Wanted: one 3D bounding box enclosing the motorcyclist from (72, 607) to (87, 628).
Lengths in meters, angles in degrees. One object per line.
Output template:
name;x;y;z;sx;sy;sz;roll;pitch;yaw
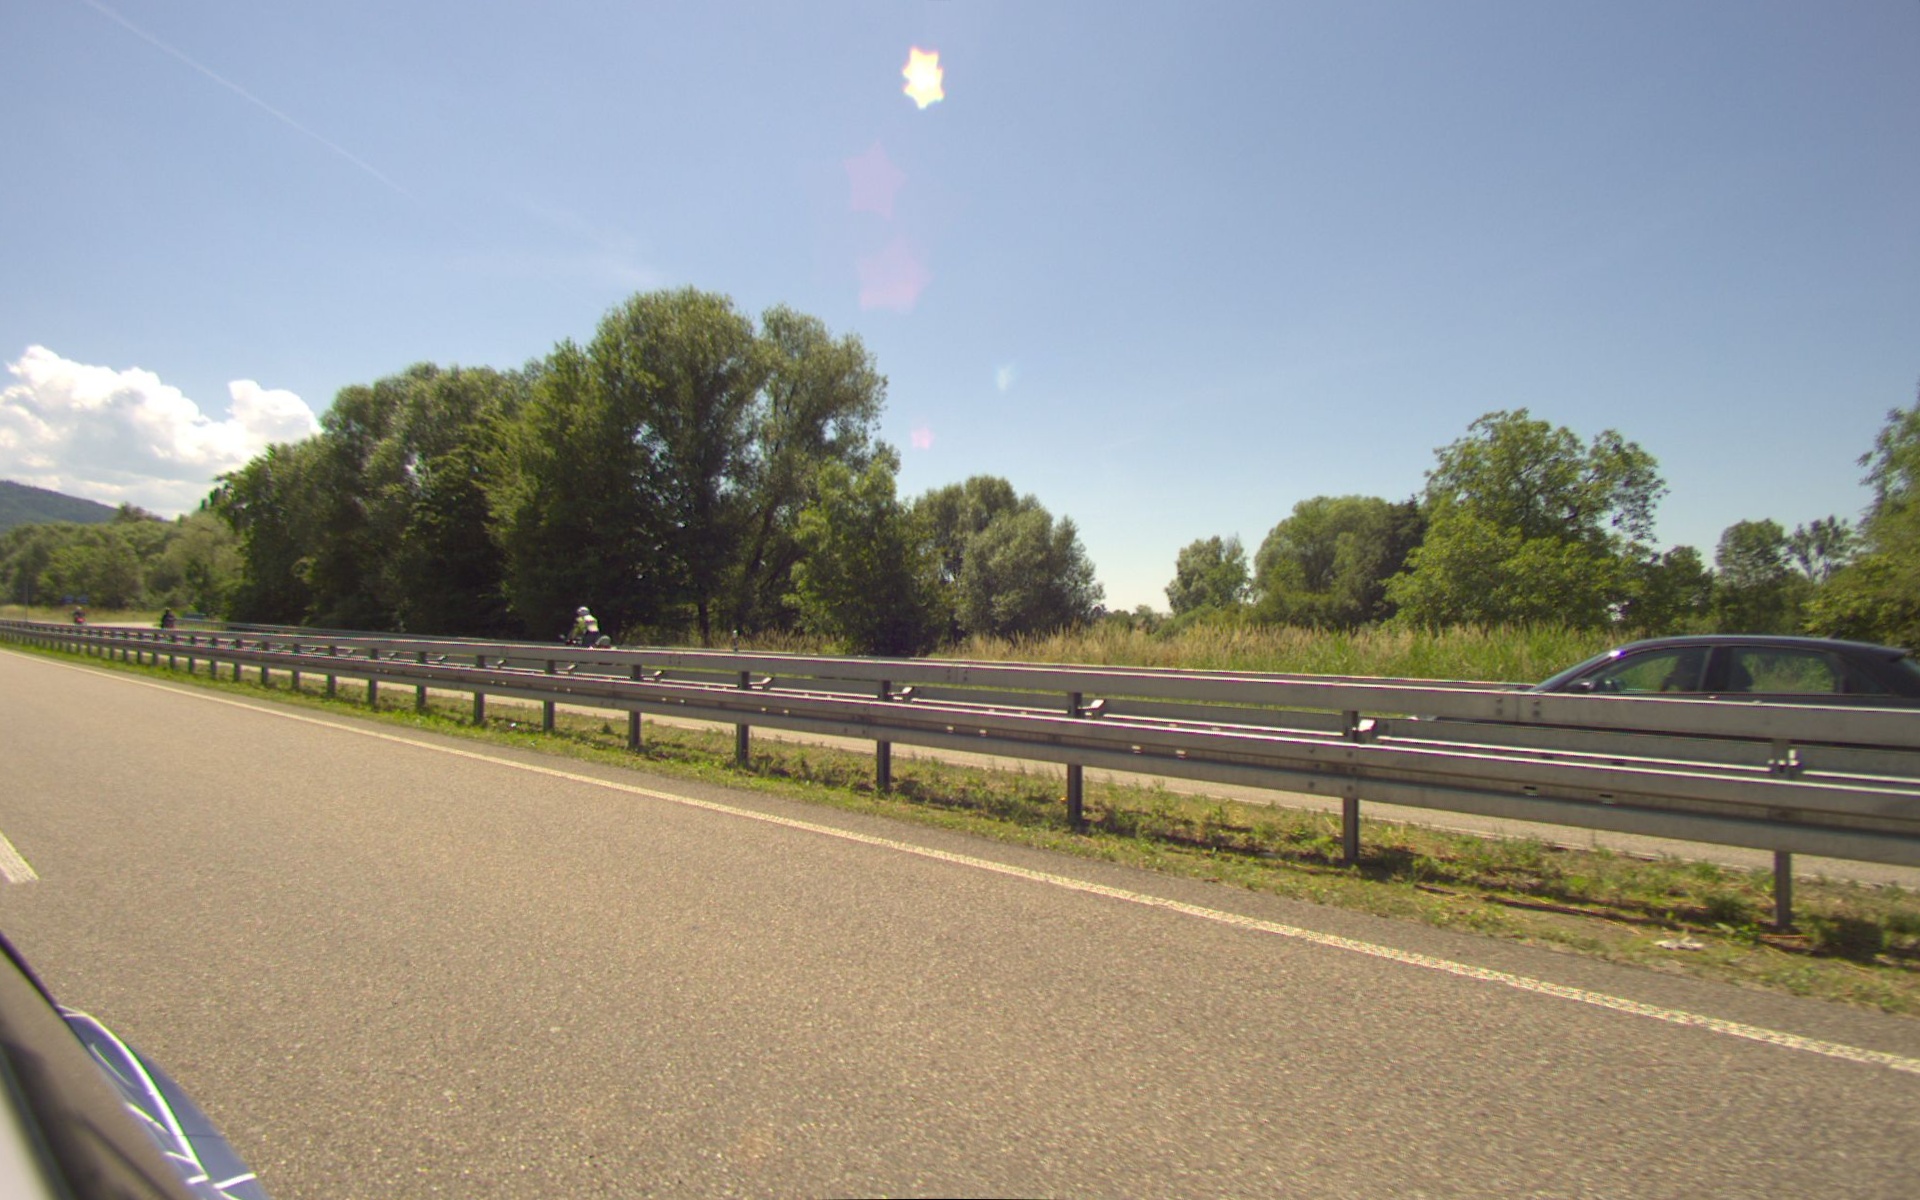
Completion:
motorcyclist;-63.360;1.284;72.813;0.809;1.493;0.710;-1;-1;42

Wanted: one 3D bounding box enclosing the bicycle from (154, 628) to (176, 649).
bicycle;-46.801;2.267;59.590;2.279;1.166;0.607;-1;-1;41

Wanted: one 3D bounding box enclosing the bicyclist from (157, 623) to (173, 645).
bicyclist;-46.800;1.973;59.573;0.607;1.287;0.607;-1;-1;41

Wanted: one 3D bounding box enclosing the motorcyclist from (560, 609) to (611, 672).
motorcyclist;-9.835;1.060;26.583;0.809;1.629;0.935;-1;-3;40

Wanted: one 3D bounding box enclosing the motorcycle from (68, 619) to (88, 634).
motorcycle;-63.372;1.878;72.731;2.665;1.072;0.719;-1;-1;41

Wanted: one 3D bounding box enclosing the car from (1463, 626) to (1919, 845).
car;5.839;0.873;7.463;3.533;1.342;1.611;-1;-2;41

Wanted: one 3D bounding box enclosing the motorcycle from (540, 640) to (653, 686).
motorcycle;-9.506;1.594;26.330;3.816;1.072;1.052;-1;-3;41
